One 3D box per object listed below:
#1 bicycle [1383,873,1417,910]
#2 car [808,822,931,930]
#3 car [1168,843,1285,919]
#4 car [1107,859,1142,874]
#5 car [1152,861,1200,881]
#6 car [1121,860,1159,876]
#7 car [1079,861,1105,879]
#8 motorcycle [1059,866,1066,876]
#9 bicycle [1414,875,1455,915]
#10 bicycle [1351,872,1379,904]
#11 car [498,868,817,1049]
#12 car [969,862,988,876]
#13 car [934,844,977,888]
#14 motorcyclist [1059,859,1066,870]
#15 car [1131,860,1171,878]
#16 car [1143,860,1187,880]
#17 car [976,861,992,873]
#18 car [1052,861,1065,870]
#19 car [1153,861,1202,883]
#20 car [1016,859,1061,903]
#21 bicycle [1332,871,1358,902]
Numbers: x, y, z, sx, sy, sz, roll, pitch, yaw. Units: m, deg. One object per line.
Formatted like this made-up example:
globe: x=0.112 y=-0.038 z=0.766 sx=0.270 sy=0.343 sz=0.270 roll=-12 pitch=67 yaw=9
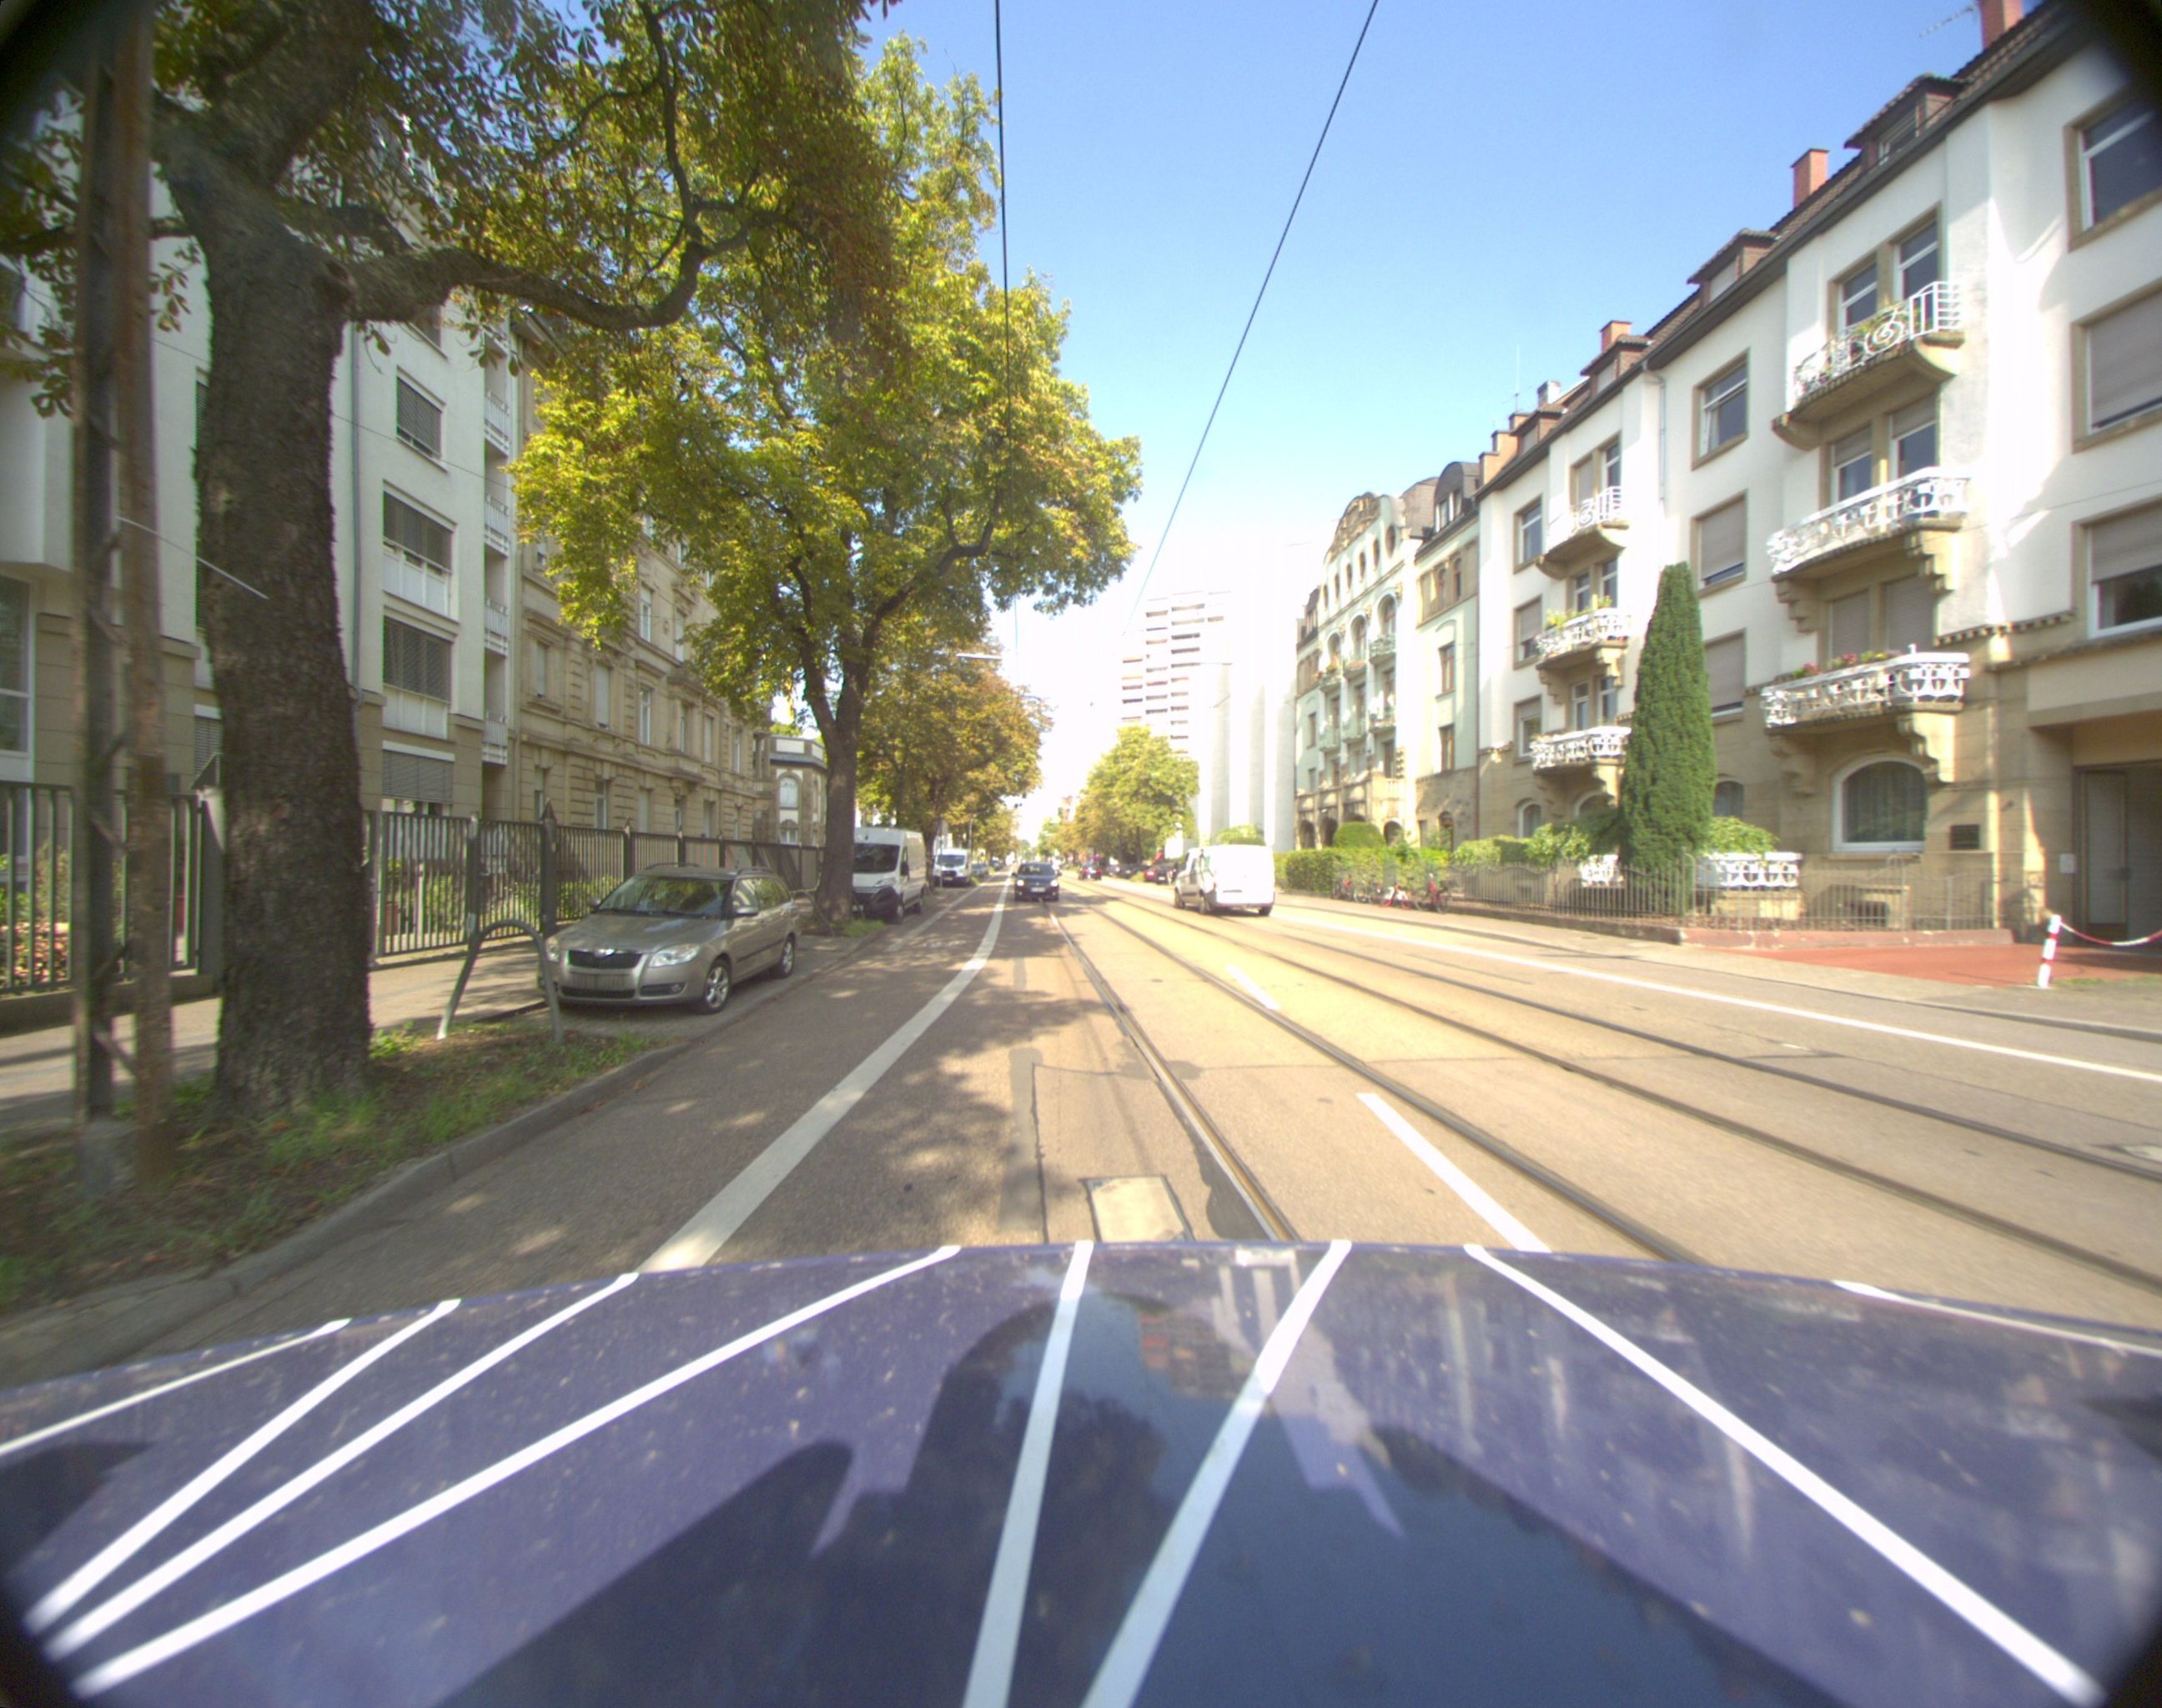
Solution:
bicycle: x=9.858 y=1.153 z=23.486 sx=0.371 sy=1.081 sz=1.354 roll=0 pitch=0 yaw=-5
car: x=-5.543 y=0.530 z=20.836 sx=2.052 sy=2.484 sz=6.226 roll=1 pitch=0 yaw=-5
car: x=4.224 y=0.754 z=22.972 sx=2.000 sy=2.002 sz=4.856 roll=1 pitch=0 yaw=-8
car: x=4.636 y=1.324 z=80.600 sx=1.767 sy=1.518 sz=4.009 roll=0 pitch=0 yaw=37
car: x=7.384 y=1.282 z=58.746 sx=1.767 sy=1.518 sz=4.009 roll=0 pitch=0 yaw=41
car: x=5.594 y=1.320 z=71.801 sx=1.767 sy=1.518 sz=4.009 roll=0 pitch=0 yaw=37
car: x=0.935 y=1.347 z=65.773 sx=1.702 sy=1.395 sz=4.643 roll=-1 pitch=0 yaw=-6
motorcycle: x=-2.463 y=2.271 z=100.641 sx=0.817 sy=1.235 sz=2.201 roll=0 pitch=0 yaw=-2
bicycle: x=10.090 y=1.153 z=21.725 sx=0.371 sy=1.081 sz=1.487 roll=0 pitch=0 yaw=-5
bicycle: x=9.803 y=1.161 z=26.248 sx=0.371 sy=1.081 sz=1.354 roll=0 pitch=0 yaw=-5
car: x=-4.626 y=1.006 z=9.139 sx=1.611 sy=1.515 sz=4.355 roll=3 pitch=0 yaw=-5
car: x=-10.212 y=1.445 z=75.949 sx=1.758 sy=1.349 sz=3.786 roll=0 pitch=0 yaw=-6
car: x=-7.790 y=0.718 z=47.712 sx=1.999 sy=2.526 sz=5.865 roll=2 pitch=0 yaw=-4
motorcyclist: x=-2.449 y=1.350 z=100.612 sx=0.817 sy=1.444 sz=0.888 roll=0 pitch=0 yaw=-3
car: x=6.393 y=1.336 z=69.004 sx=1.767 sy=1.518 sz=4.009 roll=0 pitch=0 yaw=37
car: x=6.807 y=1.296 z=61.551 sx=1.767 sy=1.518 sz=4.009 roll=0 pitch=0 yaw=37
car: x=-11.406 y=1.523 z=89.488 sx=1.758 sy=1.349 sz=3.786 roll=0 pitch=0 yaw=-6
car: x=-3.519 y=1.757 z=119.549 sx=1.758 sy=1.349 sz=3.786 roll=0 pitch=0 yaw=-6
car: x=6.996 y=1.300 z=54.916 sx=1.767 sy=1.518 sz=4.009 roll=0 pitch=0 yaw=37
car: x=-1.716 y=0.990 z=29.711 sx=1.611 sy=1.515 sz=4.355 roll=-1 pitch=0 yaw=-5
bicycle: x=9.710 y=1.178 z=28.016 sx=0.371 sy=1.081 sz=1.354 roll=0 pitch=0 yaw=-5
